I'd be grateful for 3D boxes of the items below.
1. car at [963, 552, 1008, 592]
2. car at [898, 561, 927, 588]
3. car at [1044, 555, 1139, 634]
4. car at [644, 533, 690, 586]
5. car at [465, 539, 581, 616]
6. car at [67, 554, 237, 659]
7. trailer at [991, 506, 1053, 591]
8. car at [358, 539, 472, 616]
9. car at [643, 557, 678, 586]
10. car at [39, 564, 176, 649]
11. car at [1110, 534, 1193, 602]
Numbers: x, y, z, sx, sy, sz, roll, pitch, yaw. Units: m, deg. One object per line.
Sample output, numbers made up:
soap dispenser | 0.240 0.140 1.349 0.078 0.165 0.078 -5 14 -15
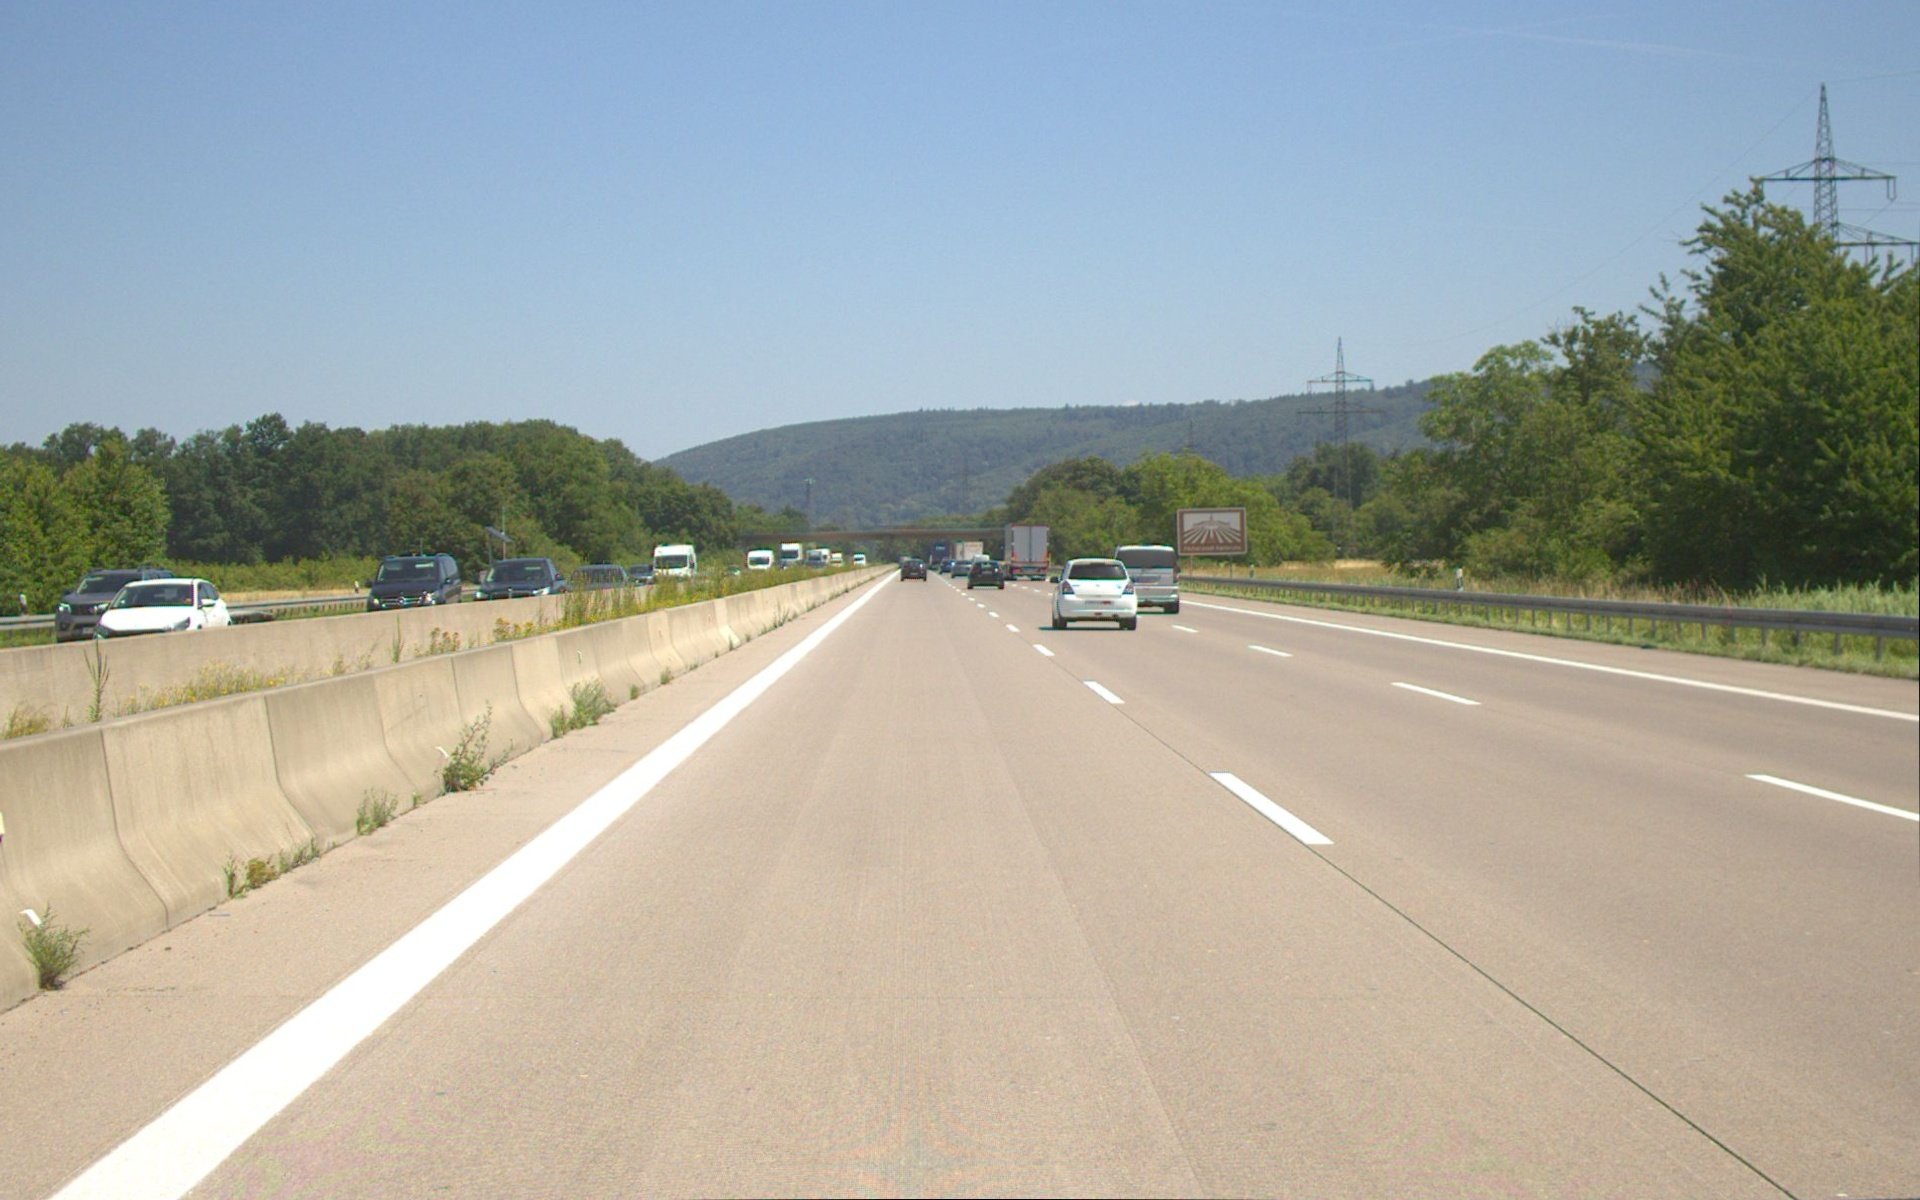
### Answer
car | 1.278 -1.406 171.418 1.993 1.842 4.000 2 1 -2
car | -3.220 -1.750 232.825 1.928 1.787 4.000 1 1 -1
car | 2.820 -0.137 74.334 1.819 1.656 4.000 0 1 -1
car | -15.644 -2.176 183.804 2.263 2.779 7.072 1 1 -4
car | -10.061 -0.546 79.508 1.993 1.711 5.030 1 1 0
car | -13.866 0.122 59.253 1.993 1.711 4.613 1 0 -2
trailer | 4.350 -3.673 243.978 3.720 5.791 12.163 1 1 -2
car | -13.812 -0.596 87.380 1.993 1.872 5.184 1 1 0
car | -17.829 -1.710 204.969 1.753 1.678 4.842 1 1 -1
car | -18.223 0.111 73.658 1.993 1.711 4.301 1 1 -2
car | 5.345 -0.907 96.333 1.993 1.842 4.000 1 1 -1
